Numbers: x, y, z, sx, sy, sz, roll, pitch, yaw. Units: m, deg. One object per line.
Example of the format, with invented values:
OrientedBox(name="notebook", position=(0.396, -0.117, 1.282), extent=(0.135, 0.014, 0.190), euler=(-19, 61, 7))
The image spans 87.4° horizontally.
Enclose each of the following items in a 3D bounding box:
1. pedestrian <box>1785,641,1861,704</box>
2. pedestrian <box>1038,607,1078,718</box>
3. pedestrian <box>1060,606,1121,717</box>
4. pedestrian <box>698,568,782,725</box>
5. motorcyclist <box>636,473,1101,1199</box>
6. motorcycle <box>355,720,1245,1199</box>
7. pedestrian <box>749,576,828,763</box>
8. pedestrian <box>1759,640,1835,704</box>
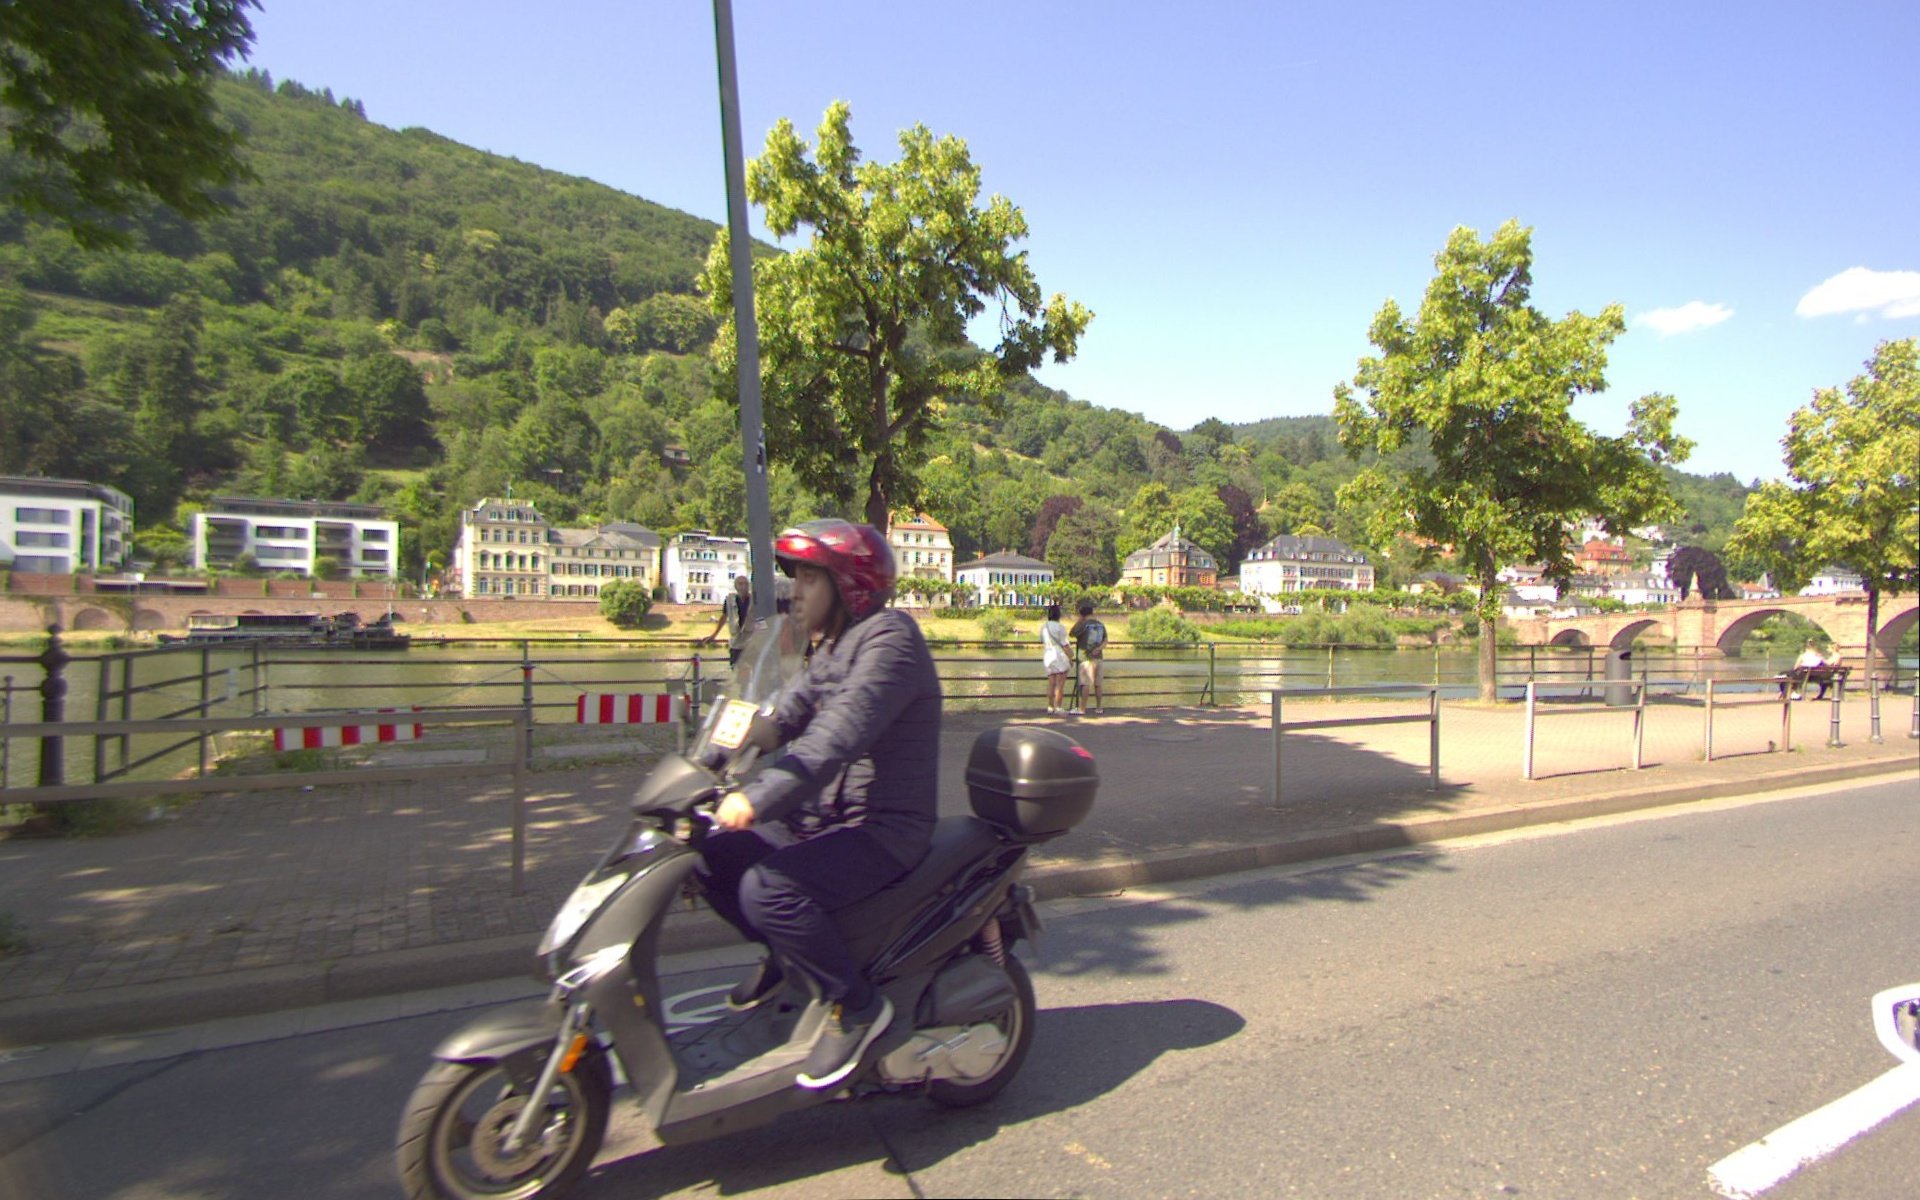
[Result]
OrientedBox(name="pedestrian", position=(18.389, 1.534, 21.415), extent=(0.837, 1.298, 0.935), euler=(1, -2, -21))
OrientedBox(name="pedestrian", position=(1.448, 0.917, 14.897), extent=(0.444, 1.618, 0.414), euler=(1, -2, -23))
OrientedBox(name="pedestrian", position=(1.977, 0.926, 15.239), extent=(0.654, 1.637, 0.692), euler=(1, -2, -22))
OrientedBox(name="pedestrian", position=(-2.881, 0.599, 13.153), extent=(0.876, 1.970, 0.690), euler=(2, -2, -31))
OrientedBox(name="motorcyclist", position=(-0.279, 0.547, 2.829), extent=(1.013, 1.604, 0.874), euler=(2, -2, -31))
OrientedBox(name="motorcycle", position=(-0.312, 0.938, 2.822), extent=(2.304, 1.091, 0.878), euler=(3, -3, -34))
OrientedBox(name="pedestrian", position=(-1.648, 0.636, 9.576), extent=(0.647, 1.705, 0.756), euler=(2, 1, -13))
OrientedBox(name="pedestrian", position=(17.556, 1.501, 21.077), extent=(0.837, 1.298, 0.935), euler=(1, -2, -21))
